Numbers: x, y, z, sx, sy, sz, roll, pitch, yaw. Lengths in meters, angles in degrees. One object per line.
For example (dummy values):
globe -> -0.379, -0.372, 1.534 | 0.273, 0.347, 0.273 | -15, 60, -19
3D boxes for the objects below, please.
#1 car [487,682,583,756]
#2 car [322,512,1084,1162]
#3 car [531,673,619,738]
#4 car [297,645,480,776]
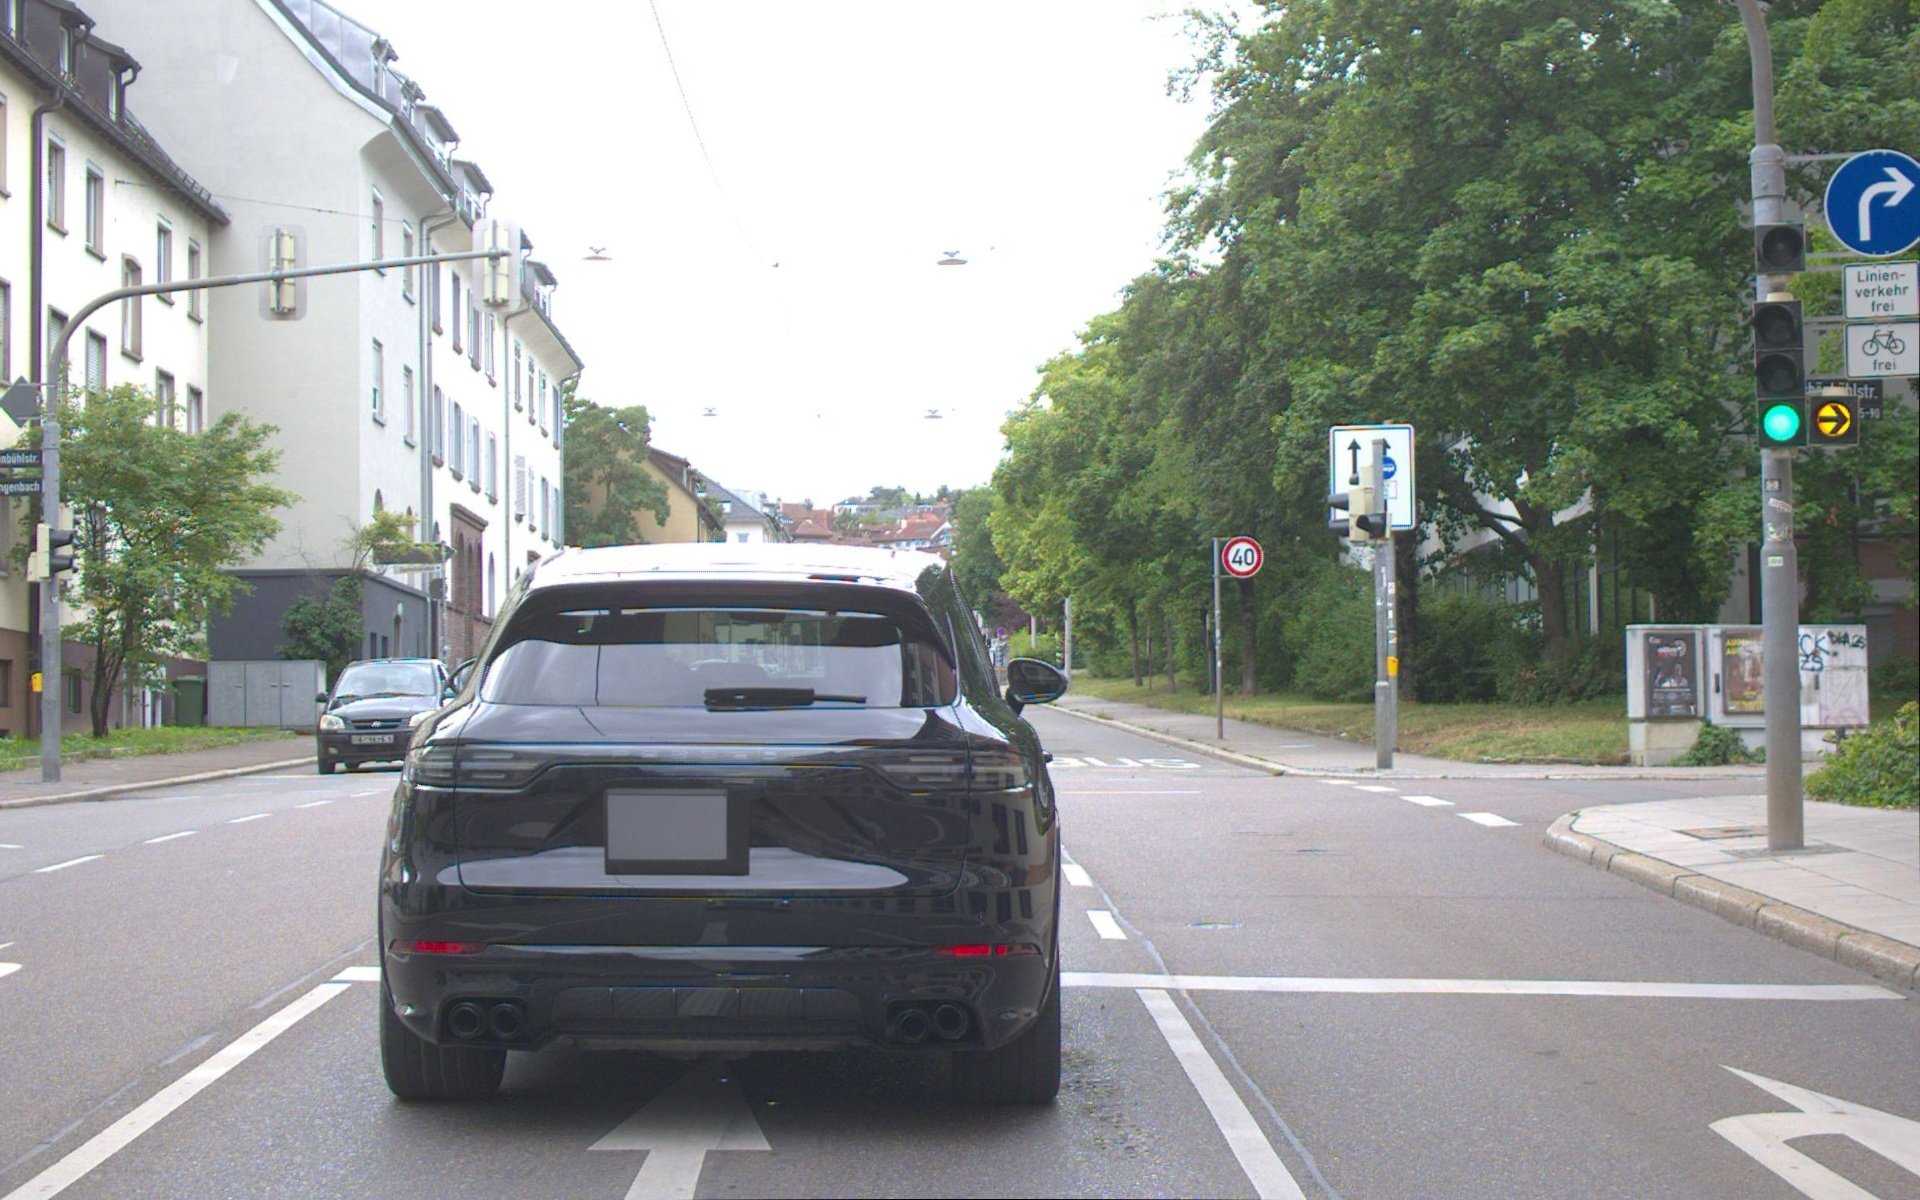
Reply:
car -> -8.550, 2.374, 69.317 | 1.669, 1.357, 4.000 | 0, 0, -3
car -> -0.702, 0.636, 11.113 | 1.993, 1.691, 4.000 | 1, 0, -1
car -> -8.582, 2.338, 76.804 | 1.670, 1.357, 4.000 | 0, 0, -2
car -> -7.424, 1.410, 44.952 | 1.664, 1.514, 3.739 | -4, 0, 0
